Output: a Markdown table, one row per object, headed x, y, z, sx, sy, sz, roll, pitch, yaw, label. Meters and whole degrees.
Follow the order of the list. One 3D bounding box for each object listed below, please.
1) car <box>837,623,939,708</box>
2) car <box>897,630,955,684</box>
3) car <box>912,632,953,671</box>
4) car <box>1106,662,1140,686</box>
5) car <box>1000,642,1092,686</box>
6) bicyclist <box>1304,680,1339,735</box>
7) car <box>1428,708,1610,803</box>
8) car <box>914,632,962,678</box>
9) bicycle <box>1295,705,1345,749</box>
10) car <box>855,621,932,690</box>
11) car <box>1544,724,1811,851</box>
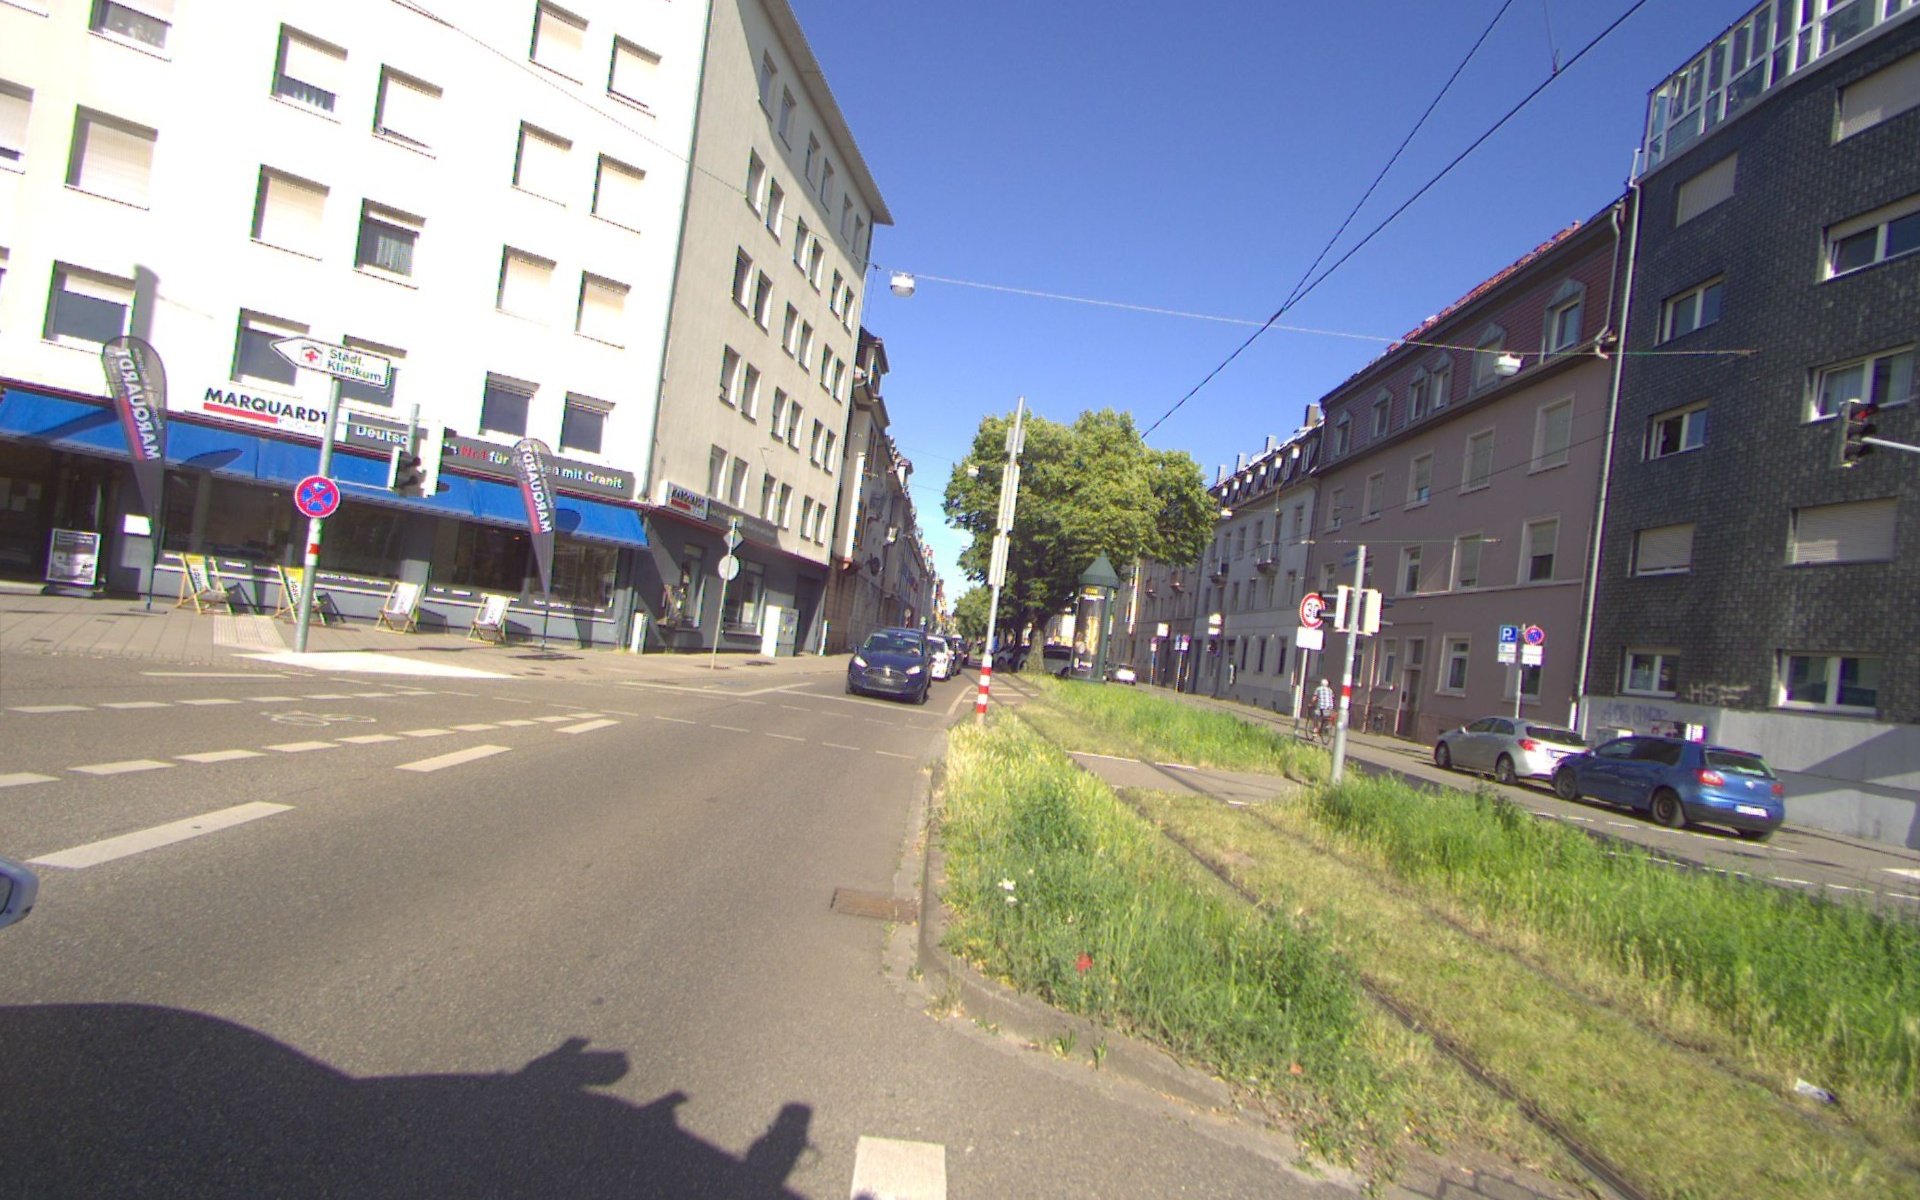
| x | y | z | sx | sy | sz | roll | pitch | yaw | label |
| --- | --- | --- | --- | --- | --- | --- | --- | --- | --- |
| -1.499 | 1.420 | 22.347 | 1.702 | 1.469 | 4.004 | 9 | -2 | 2 | car |
| -1.131 | 1.988 | 35.514 | 1.628 | 1.599 | 4.004 | 7 | -2 | 2 | car |
| -1.279 | 2.475 | 48.248 | 1.628 | 1.599 | 3.774 | 7 | -2 | 2 | car |
| 11.971 | 5.452 | 74.253 | 1.657 | 1.432 | 4.003 | 8 | -2 | 0 | car |
| 4.265 | 3.193 | 50.121 | 3.938 | 1.592 | 1.995 | 6 | -2 | 36 | car |
| 10.008 | 2.970 | 27.866 | 0.500 | 1.425 | 0.805 | 7 | -1 | -2 | bicyclist |
| 12.323 | 3.384 | 22.495 | 1.657 | 1.432 | 4.003 | 8 | -2 | 0 | car |
| -0.848 | 2.270 | 41.619 | 1.628 | 1.599 | 3.774 | 7 | -2 | 2 | car |
| 9.948 | 3.497 | 27.889 | 0.497 | 0.966 | 1.998 | 7 | -2 | -2 | bicycle |
| -1.781 | 1.529 | 28.137 | 1.628 | 1.599 | 4.004 | 7 | -2 | 2 | car |
| 12.352 | 3.168 | 17.687 | 1.657 | 1.432 | 4.003 | 8 | -2 | 0 | car |
